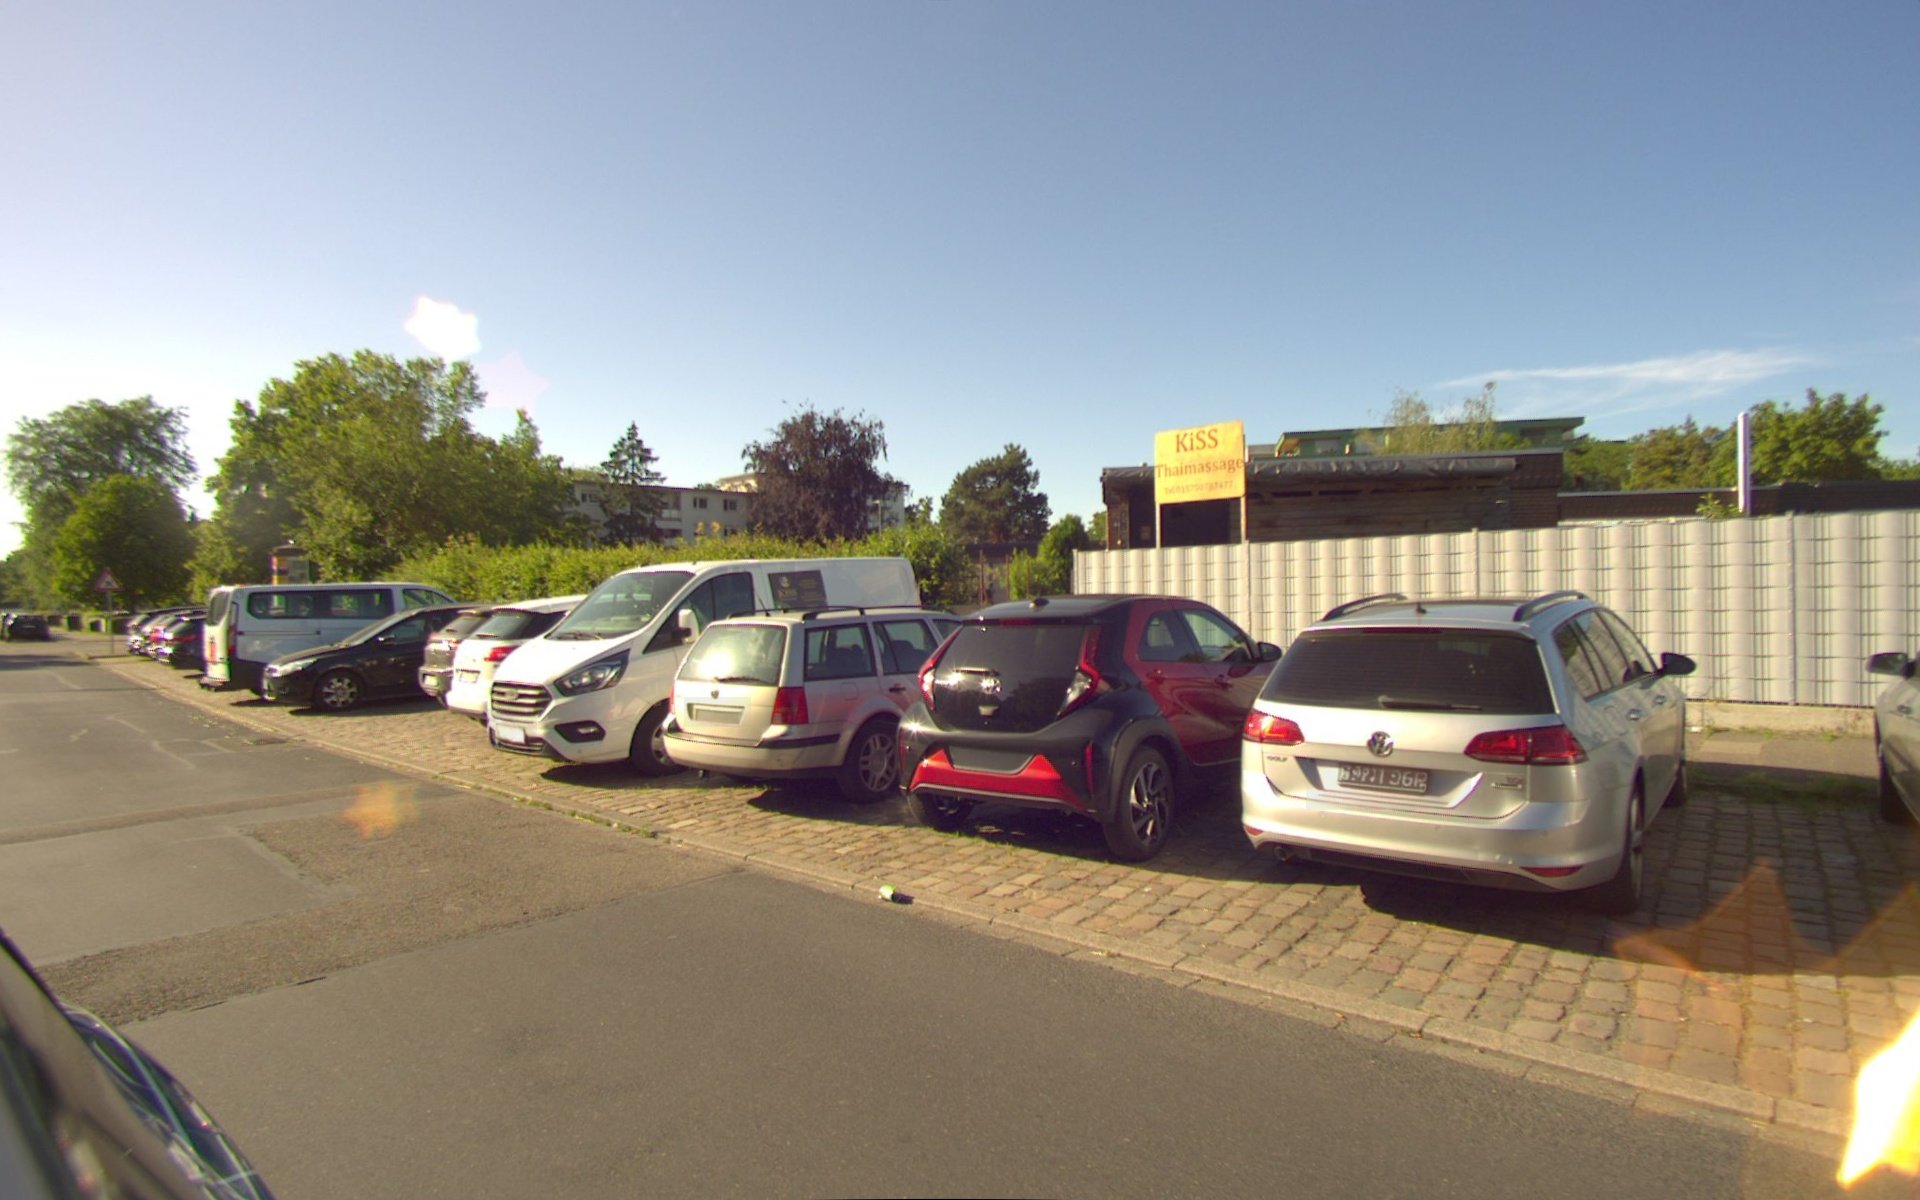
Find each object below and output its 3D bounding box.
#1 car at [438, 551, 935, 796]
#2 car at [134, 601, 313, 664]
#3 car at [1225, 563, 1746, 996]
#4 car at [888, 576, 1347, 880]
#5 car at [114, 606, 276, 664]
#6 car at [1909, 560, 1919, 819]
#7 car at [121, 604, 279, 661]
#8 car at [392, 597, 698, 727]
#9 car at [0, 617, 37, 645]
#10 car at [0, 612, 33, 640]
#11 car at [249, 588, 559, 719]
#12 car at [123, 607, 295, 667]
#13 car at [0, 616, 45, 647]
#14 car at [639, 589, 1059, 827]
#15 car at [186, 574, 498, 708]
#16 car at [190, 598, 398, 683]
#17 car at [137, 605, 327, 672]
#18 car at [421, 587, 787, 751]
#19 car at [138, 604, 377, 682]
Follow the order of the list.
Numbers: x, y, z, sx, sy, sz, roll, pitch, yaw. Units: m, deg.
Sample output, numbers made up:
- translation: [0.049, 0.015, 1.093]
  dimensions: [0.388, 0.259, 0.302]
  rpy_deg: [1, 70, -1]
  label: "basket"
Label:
- translation: [-2.606, 0.526, 10.759]
  dimensions: [2.079, 1.935, 4.743]
  rpy_deg: [-1, 2, 39]
  label: "car"
- translation: [-21.843, 0.910, 30.103]
  dimensions: [1.906, 1.523, 3.975]
  rpy_deg: [0, 3, 43]
  label: "car"
- translation: [3.058, 0.622, 5.528]
  dimensions: [1.637, 1.500, 3.476]
  rpy_deg: [-1, 2, 43]
  label: "car"
- translation: [1.302, 0.660, 7.127]
  dimensions: [1.635, 1.500, 3.480]
  rpy_deg: [-3, 1, 38]
  label: "car"
- translation: [-25.131, 1.091, 33.334]
  dimensions: [1.832, 1.544, 3.944]
  rpy_deg: [0, 3, 43]
  label: "car"
- translation: [5.333, 0.580, 4.251]
  dimensions: [1.726, 1.500, 3.479]
  rpy_deg: [-1, 2, 40]
  label: "car"
- translation: [-26.821, 1.081, 35.813]
  dimensions: [1.847, 1.668, 4.142]
  rpy_deg: [0, 3, 43]
  label: "car"
- translation: [-6.042, 0.791, 14.991]
  dimensions: [1.885, 1.498, 3.726]
  rpy_deg: [0, 3, 44]
  label: "car"
- translation: [-58.843, 1.914, 63.035]
  dimensions: [1.792, 1.695, 3.651]
  rpy_deg: [2, -2, -44]
  label: "car"
- translation: [-68.369, 1.896, 73.165]
  dimensions: [1.882, 1.956, 4.514]
  rpy_deg: [2, -2, -44]
  label: "car"
- translation: [-8.978, 0.743, 16.503]
  dimensions: [4.099, 1.718, 1.887]
  rpy_deg: [-4, 3, -39]
  label: "car"
- translation: [-23.541, 1.100, 31.810]
  dimensions: [1.813, 1.523, 4.048]
  rpy_deg: [0, 3, 43]
  label: "car"
- translation: [-51.813, 1.740, 55.854]
  dimensions: [1.759, 1.585, 4.426]
  rpy_deg: [-2, 0, -45]
  label: "car"
- translation: [-0.756, 0.714, 8.685]
  dimensions: [1.634, 1.457, 3.483]
  rpy_deg: [0, 3, 36]
  label: "car"
- translation: [-11.130, 0.614, 18.453]
  dimensions: [2.001, 1.991, 4.430]
  rpy_deg: [0, 3, 44]
  label: "car"
- translation: [-14.939, 0.856, 22.797]
  dimensions: [1.882, 1.579, 3.561]
  rpy_deg: [-2, 2, 45]
  label: "car"
- translation: [-19.819, 1.005, 27.663]
  dimensions: [1.792, 1.490, 3.942]
  rpy_deg: [-2, 2, 45]
  label: "car"
- translation: [-4.397, 0.714, 12.897]
  dimensions: [1.885, 1.594, 3.943]
  rpy_deg: [0, 3, 44]
  label: "car"
- translation: [-16.961, 0.980, 24.615]
  dimensions: [1.748, 1.490, 4.493]
  rpy_deg: [-2, 2, 45]
  label: "car"
